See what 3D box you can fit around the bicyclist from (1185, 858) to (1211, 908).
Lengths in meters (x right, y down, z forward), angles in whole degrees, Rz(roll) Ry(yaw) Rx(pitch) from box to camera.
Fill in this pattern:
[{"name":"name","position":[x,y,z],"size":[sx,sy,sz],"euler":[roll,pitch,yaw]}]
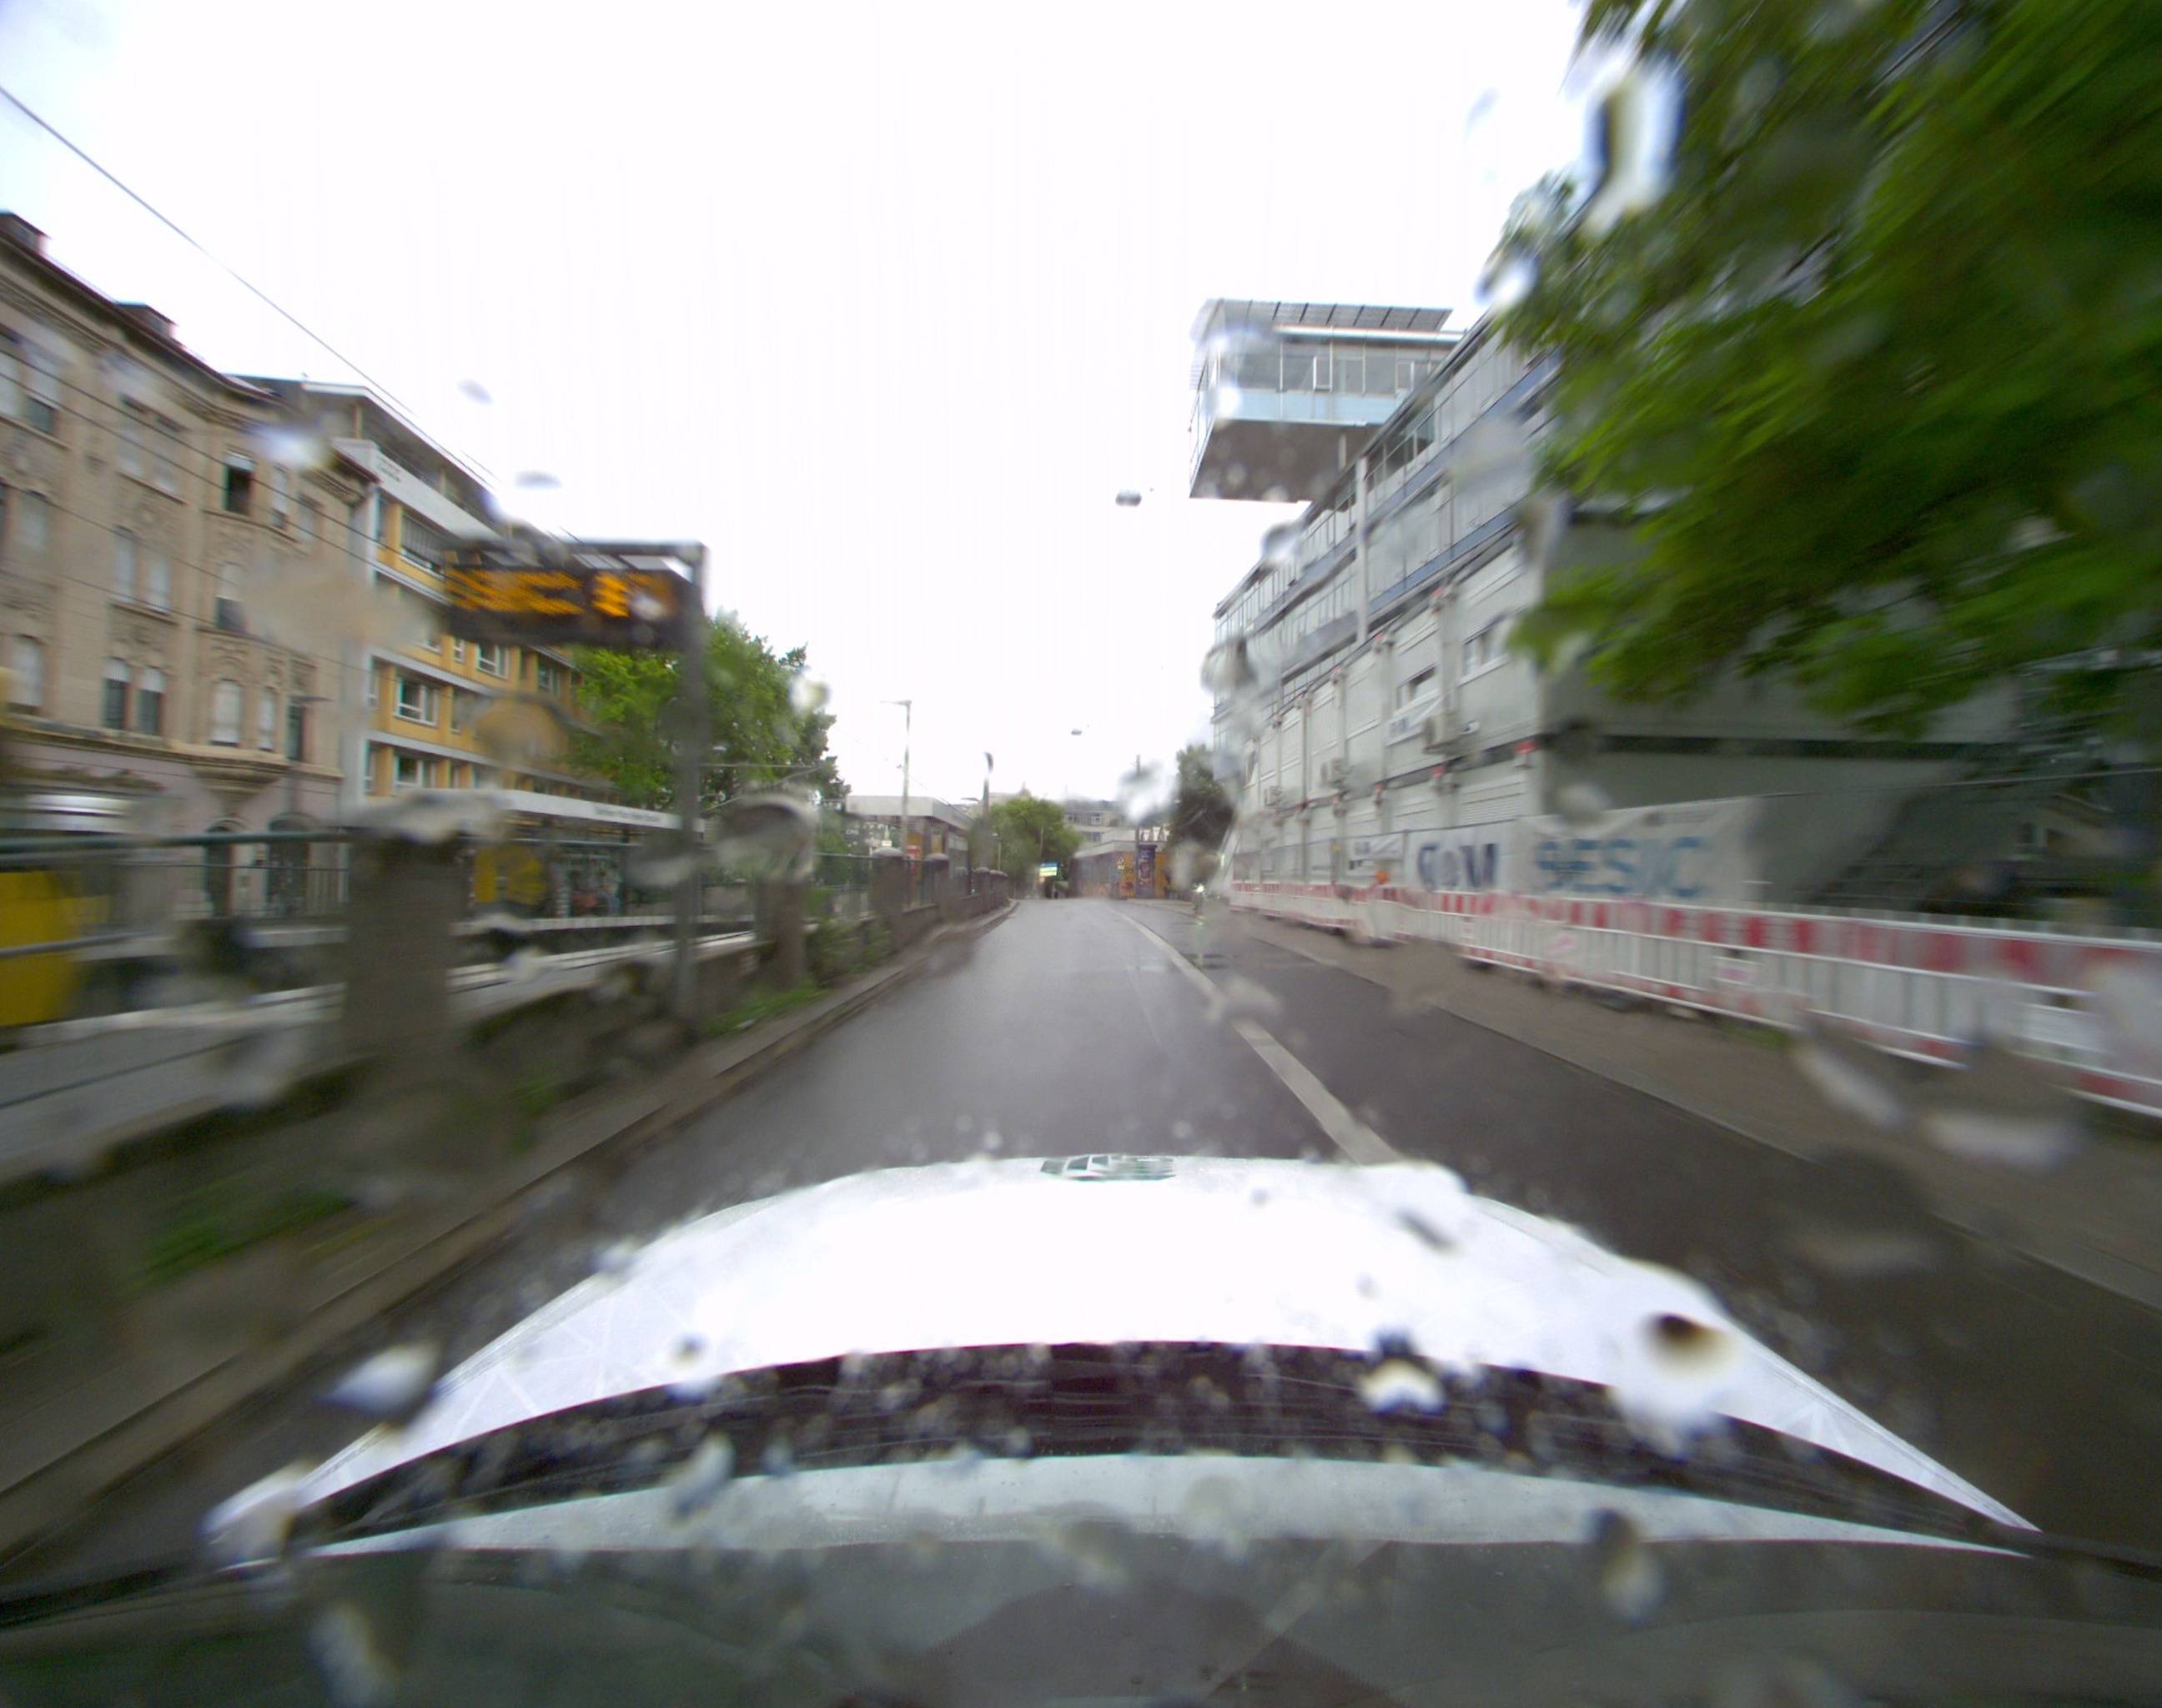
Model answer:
[{"name":"bicyclist","position":[3.995,1.004,27.914],"size":[0.660,1.639,0.792],"euler":[-4,-2,-1]}]

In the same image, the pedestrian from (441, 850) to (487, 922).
[{"name":"pedestrian","position":[-13.325,0.691,17.597],"size":[0.556,1.537,0.516],"euler":[0,-1,-1]}]

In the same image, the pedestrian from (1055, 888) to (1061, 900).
[{"name":"pedestrian","position":[-3.563,6.087,124.514],"size":[0.806,1.865,1.053],"euler":[-1,-3,-8]}]

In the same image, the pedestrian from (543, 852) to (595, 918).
[{"name":"pedestrian","position":[-13.675,0.823,21.768],"size":[0.768,1.649,0.778],"euler":[-5,-2,3]}]

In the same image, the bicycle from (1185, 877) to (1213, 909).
[{"name":"bicycle","position":[4.023,1.333,27.965],"size":[0.659,1.053,2.056],"euler":[-1,-2,0]}]

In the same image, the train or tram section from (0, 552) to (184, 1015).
[{"name":"train or tram section","position":[-10.166,-0.551,2.934],"size":[2.767,3.691,9.720],"euler":[1,1,2]}]

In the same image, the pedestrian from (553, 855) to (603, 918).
[{"name":"pedestrian","position":[-13.988,0.901,22.674],"size":[0.768,1.649,0.778],"euler":[-5,-2,3]}]

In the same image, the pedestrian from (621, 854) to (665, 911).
[{"name":"pedestrian","position":[-13.293,0.851,24.752],"size":[0.674,1.649,0.896],"euler":[-6,-2,3]}]

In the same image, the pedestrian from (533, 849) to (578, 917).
[{"name":"pedestrian","position":[-13.199,0.721,20.480],"size":[0.630,1.660,0.683],"euler":[1,-1,2]}]

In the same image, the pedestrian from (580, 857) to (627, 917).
[{"name":"pedestrian","position":[-13.898,0.962,23.740],"size":[0.768,1.649,0.778],"euler":[-5,-2,3]}]
